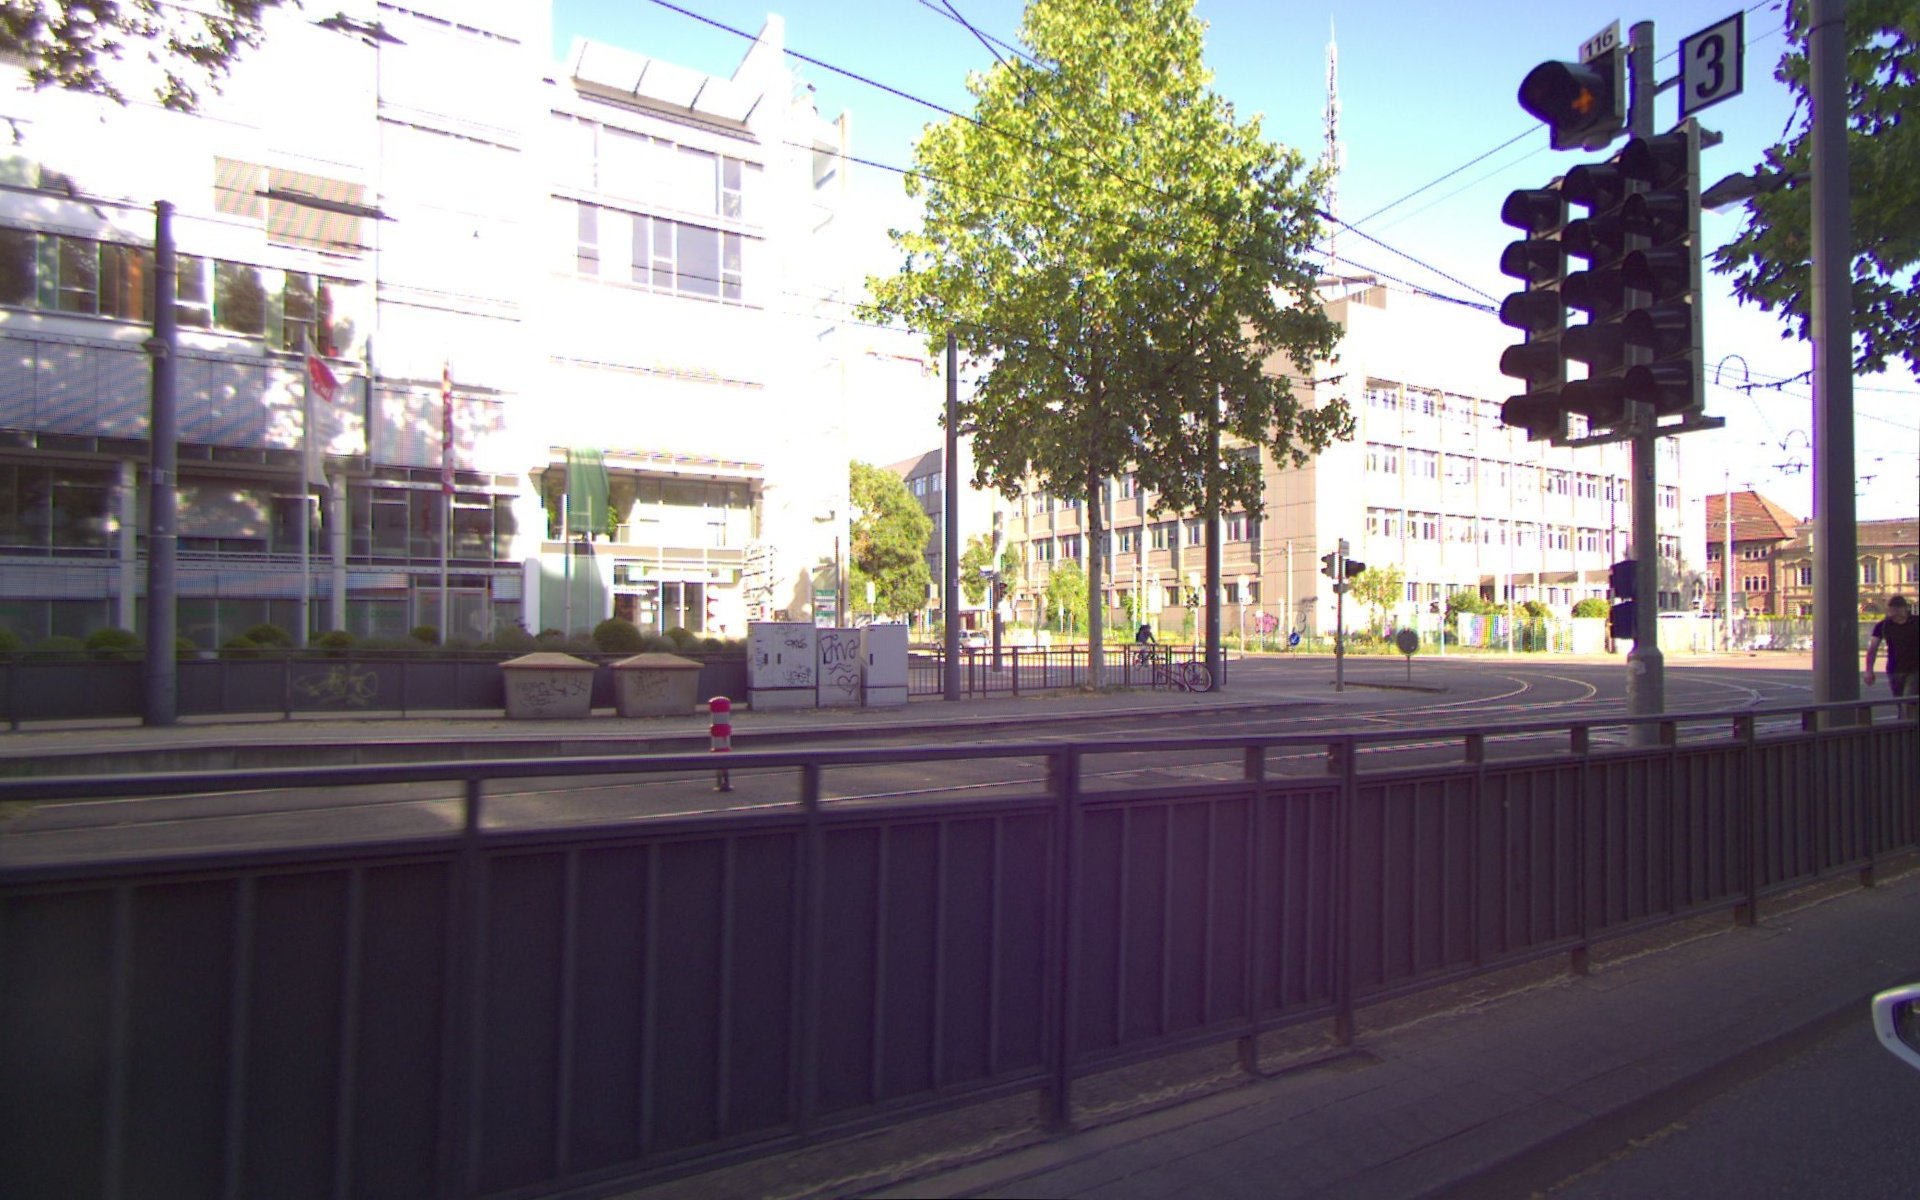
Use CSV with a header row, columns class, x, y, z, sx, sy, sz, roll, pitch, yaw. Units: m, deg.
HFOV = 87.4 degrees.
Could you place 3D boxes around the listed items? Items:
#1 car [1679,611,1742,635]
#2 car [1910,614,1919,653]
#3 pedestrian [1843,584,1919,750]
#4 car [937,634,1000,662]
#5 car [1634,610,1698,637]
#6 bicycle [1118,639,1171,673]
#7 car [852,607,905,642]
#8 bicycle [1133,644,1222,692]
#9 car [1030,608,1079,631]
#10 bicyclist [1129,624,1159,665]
class,x,y,z,sx,sy,sz,roll,pitch,yaw
car,55.363,1.682,74.073,4.320,1.726,1.987,0,-2,-26
car,50.810,1.685,51.163,4.363,1.973,1.988,0,-1,-24
pedestrian,10.462,0.724,11.176,0.702,1.770,0.732,0,-1,-25
car,0.522,3.044,64.062,2.089,1.720,3.929,1,-2,-37
car,53.994,1.820,76.784,4.662,2.040,1.987,0,-2,-26
bicycle,7.020,2.128,38.286,2.014,1.205,0.587,-1,-1,44
car,-6.133,1.809,75.194,2.159,2.538,4.361,1,-2,-33
bicycle,4.693,1.464,21.684,1.702,0.958,0.810,4,-2,-25
car,8.444,1.730,89.750,3.954,2.040,1.984,0,-1,-31
bicyclist,7.021,1.678,38.286,0.869,1.514,0.719,0,-1,43
